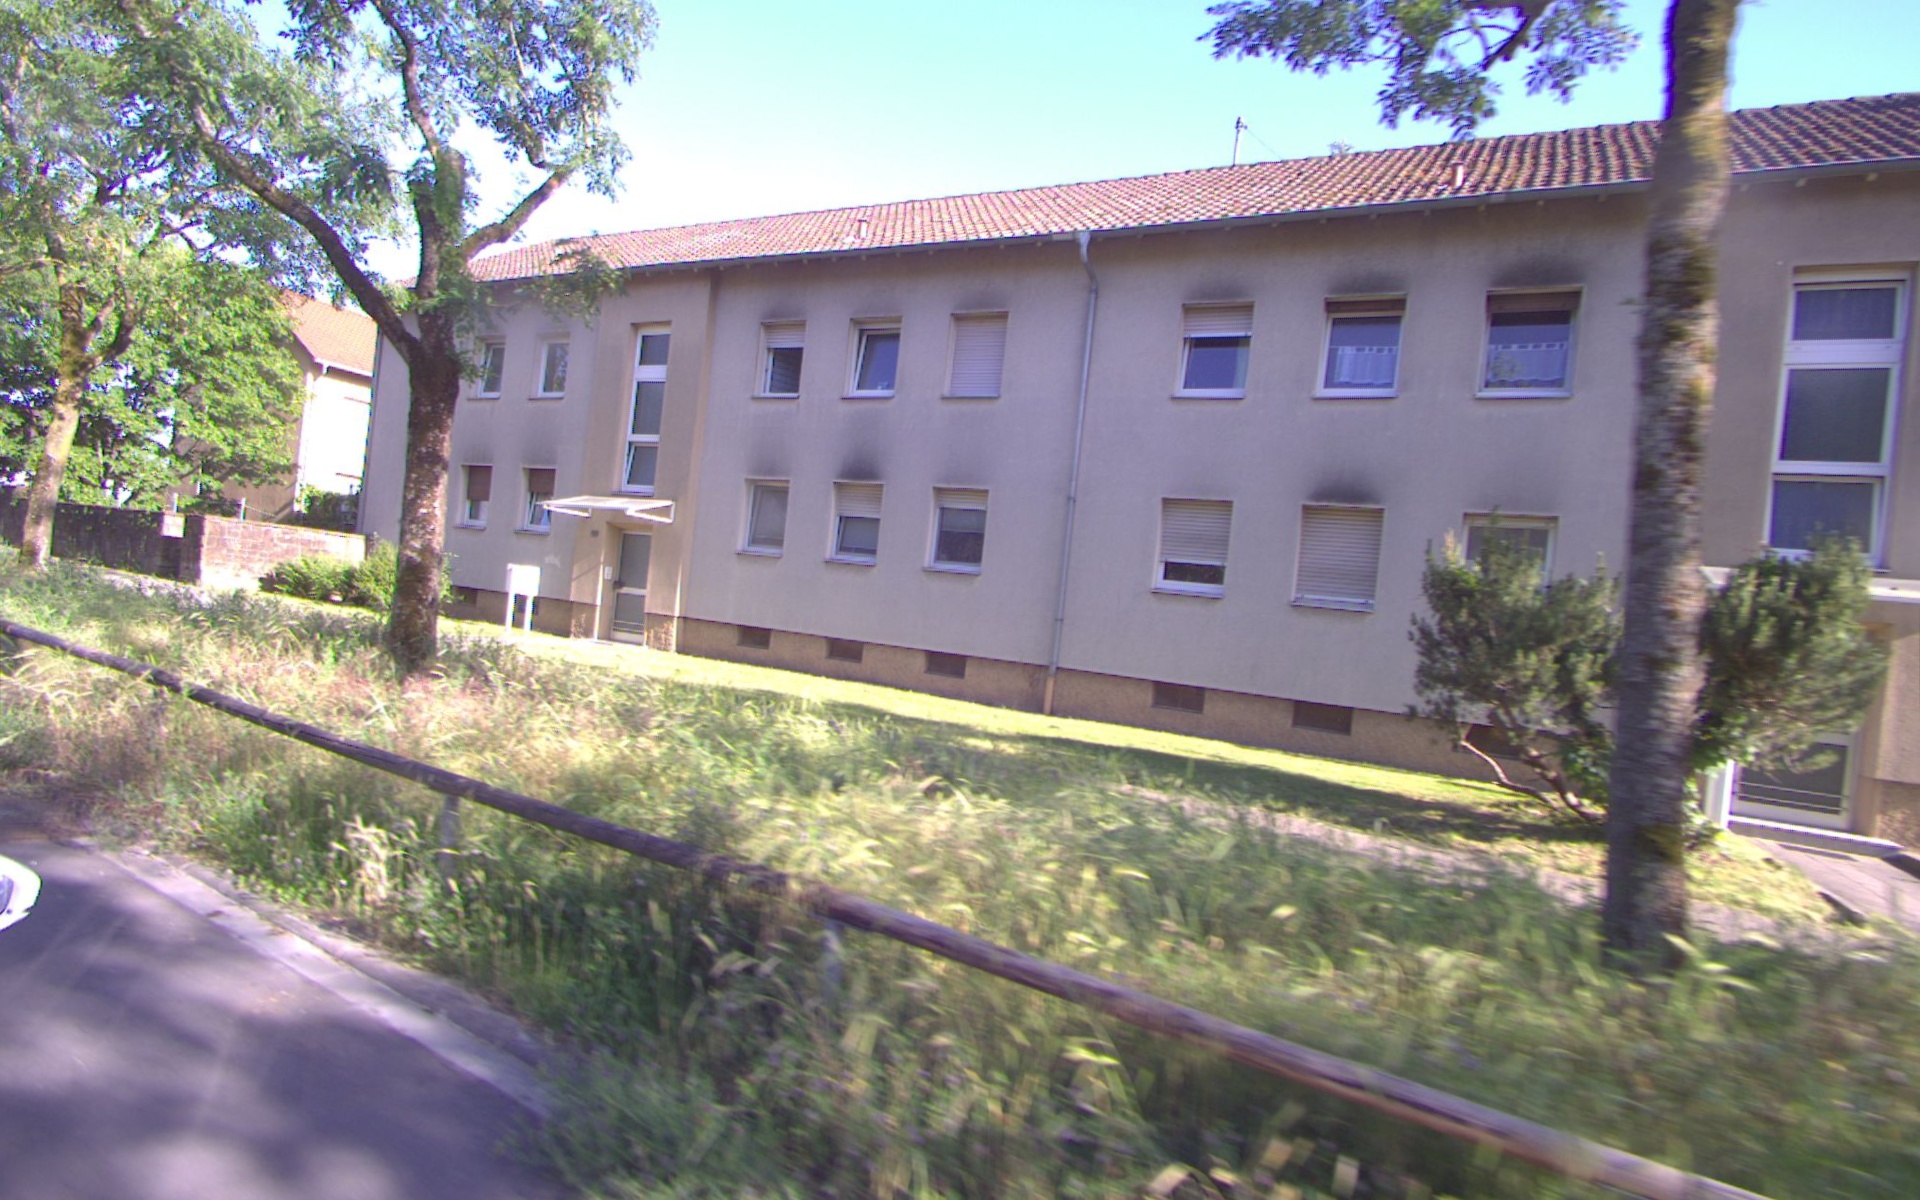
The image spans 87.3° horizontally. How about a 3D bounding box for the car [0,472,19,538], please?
[{"bbox_3d":[-40.617,-4.121,38.891,2.227,2.569,5.606,7,-1,29],"label":"car"}]
